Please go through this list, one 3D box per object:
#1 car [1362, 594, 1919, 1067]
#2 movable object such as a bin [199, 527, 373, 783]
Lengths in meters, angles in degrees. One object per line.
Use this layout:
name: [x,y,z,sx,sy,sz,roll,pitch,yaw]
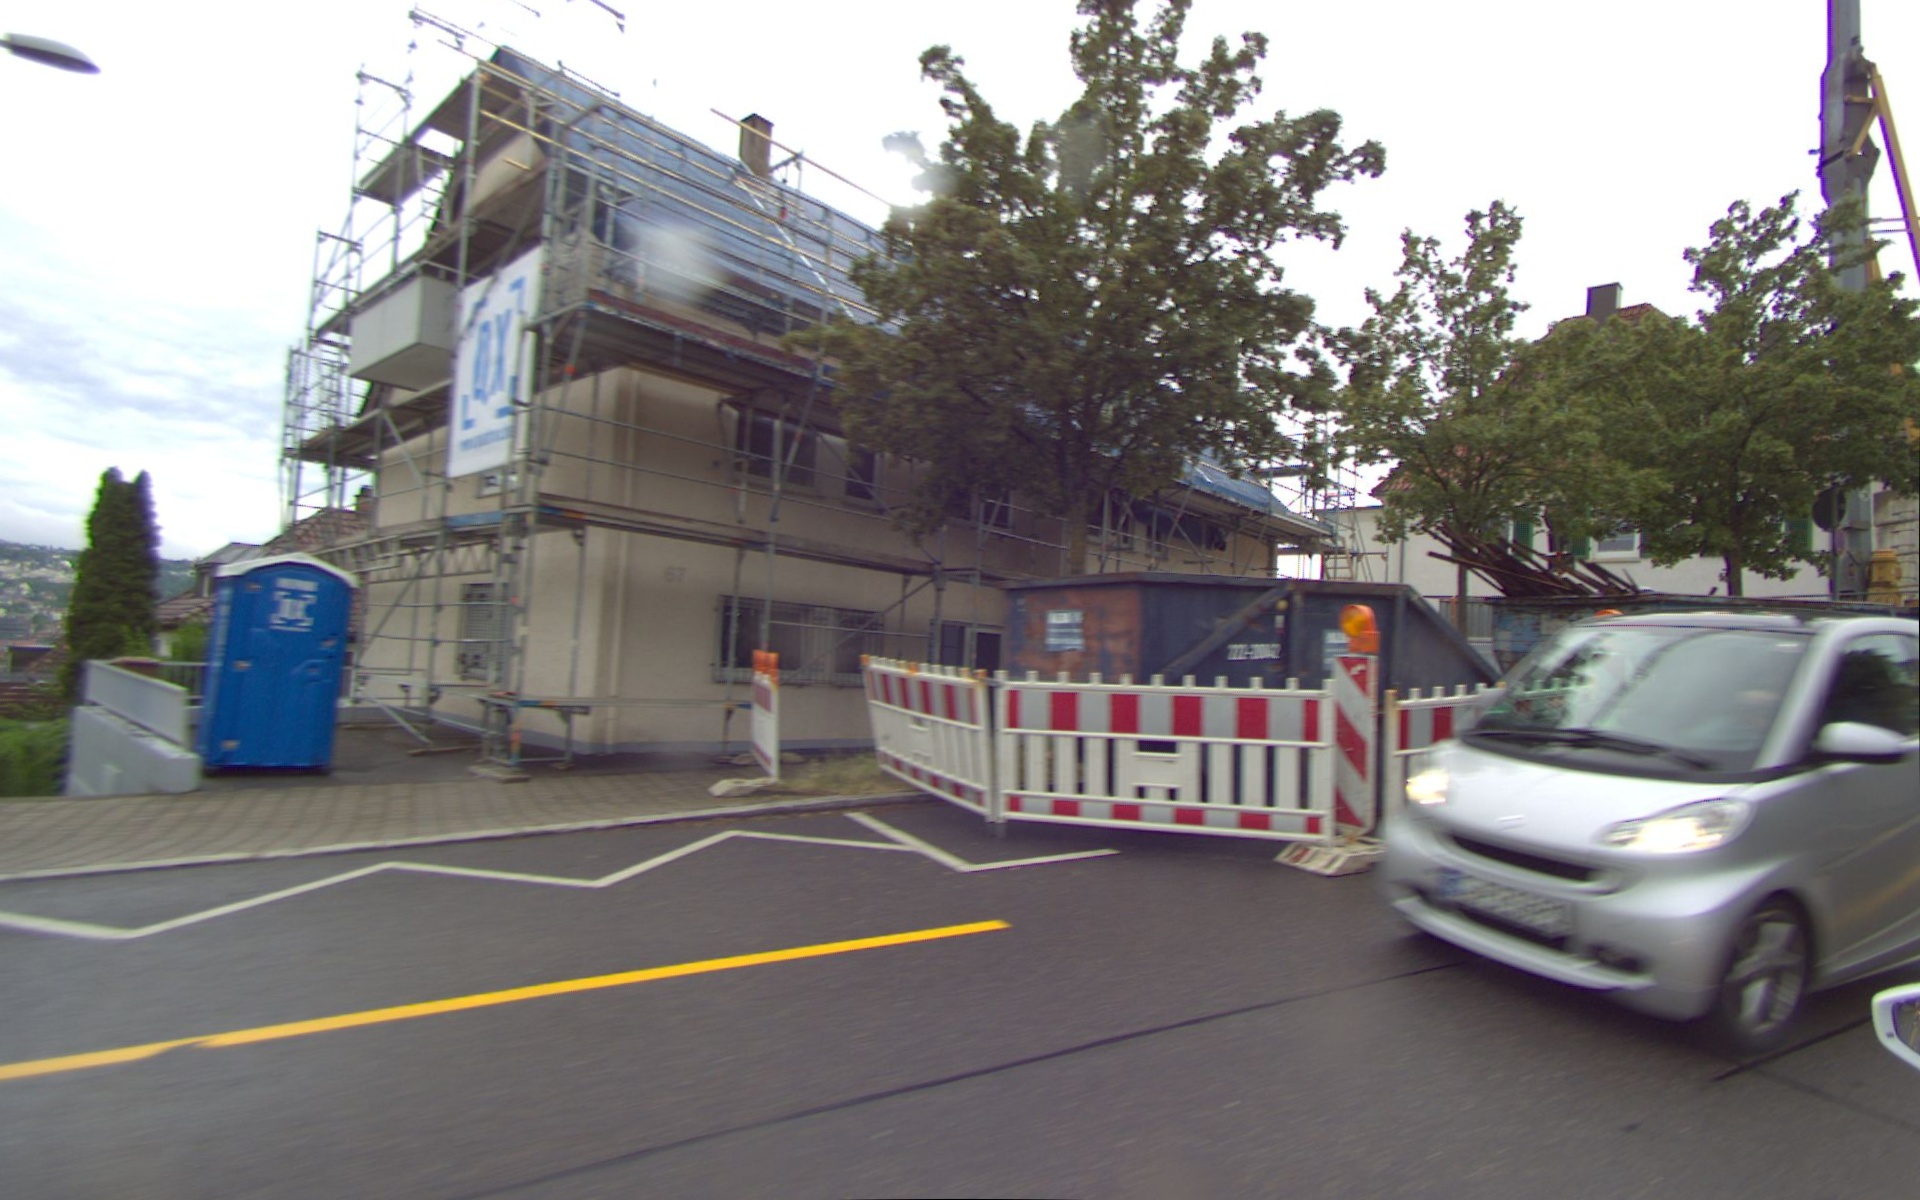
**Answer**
car: [3.471,0.789,4.507,2.881,1.546,1.453,2,0,-22]
movable object such as a bin: [-7.337,0.569,10.935,1.376,2.539,1.301,2,-2,-42]
